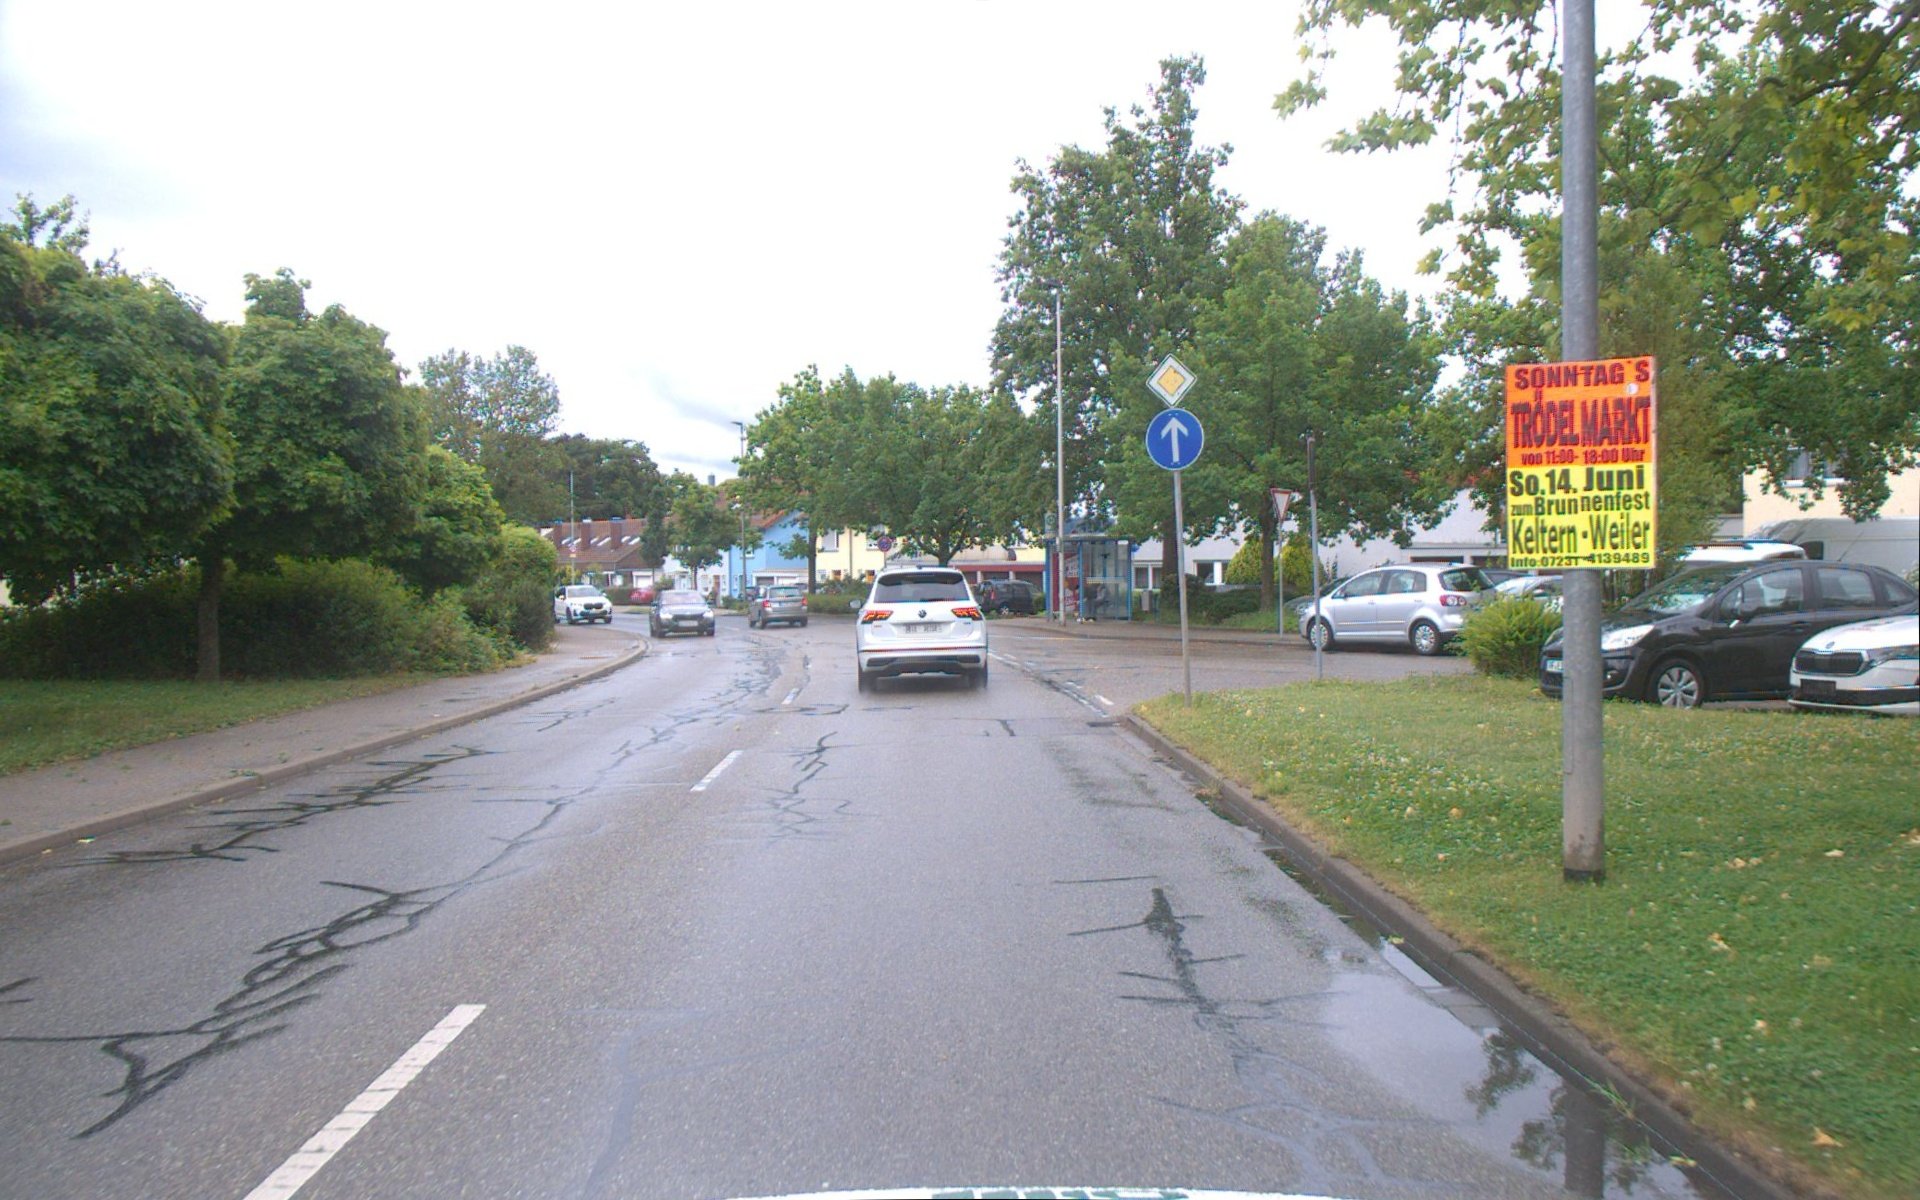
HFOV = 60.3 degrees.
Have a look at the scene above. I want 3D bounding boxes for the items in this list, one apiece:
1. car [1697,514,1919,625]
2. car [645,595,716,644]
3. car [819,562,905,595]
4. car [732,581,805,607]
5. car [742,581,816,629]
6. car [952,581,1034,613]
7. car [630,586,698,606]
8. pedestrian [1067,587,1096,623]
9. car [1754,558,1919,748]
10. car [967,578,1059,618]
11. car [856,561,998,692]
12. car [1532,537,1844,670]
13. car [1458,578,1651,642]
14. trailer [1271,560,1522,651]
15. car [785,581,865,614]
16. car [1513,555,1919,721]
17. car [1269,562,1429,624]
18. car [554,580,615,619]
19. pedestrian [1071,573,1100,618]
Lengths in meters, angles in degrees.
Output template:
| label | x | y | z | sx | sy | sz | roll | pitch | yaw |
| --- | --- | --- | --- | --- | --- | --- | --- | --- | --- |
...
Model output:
| label | x | y | z | sx | sy | sz | roll | pitch | yaw |
| --- | --- | --- | --- | --- | --- | --- | --- | --- | --- |
| car | 17.910 | -0.639 | 33.073 | 5.718 | 2.049 | 1.994 | -2 | 1 | -12 |
| car | -8.851 | 0.590 | 52.197 | 1.713 | 1.439 | 4.123 | -1 | 1 | -17 |
| car | -5.169 | -1.149 | 87.506 | 4.146 | 1.701 | 1.967 | -1 | 1 | -36 |
| car | -11.036 | -0.349 | 95.427 | 3.962 | 1.411 | 1.651 | -1 | 1 | -40 |
| car | -6.356 | 0.155 | 57.706 | 1.742 | 1.578 | 3.978 | -1 | 1 | -19 |
| car | 1.583 | -0.161 | 78.428 | 3.666 | 1.467 | 1.684 | -1 | 1 | -38 |
| car | -19.400 | -0.268 | 108.510 | 1.651 | 1.283 | 4.288 | 1 | 0 | 44 |
| pedestrian | 3.527 | 0.128 | 48.051 | 0.735 | 1.029 | 0.550 | -1 | 0 | -10 |
| car | 9.375 | 0.348 | 14.059 | 4.486 | 1.468 | 1.762 | -2 | 1 | -7 |
| car | 2.449 | -0.112 | 75.749 | 3.959 | 1.751 | 1.898 | -1 | 1 | -38 |
| car | -0.469 | 0.326 | 23.805 | 1.827 | 1.679 | 3.999 | -1 | 1 | -1 |
| car | 11.412 | 0.031 | 26.185 | 1.974 | 1.914 | 4.167 | -1 | 1 | -32 |
| car | 13.591 | 0.199 | 37.833 | 3.968 | 1.360 | 1.724 | -1 | 0 | -19 |
| trailer | 8.164 | 0.087 | 31.264 | 1.977 | 1.570 | 4.371 | -1 | 1 | -35 |
| car | -7.302 | -0.129 | 89.645 | 4.160 | 1.701 | 1.694 | 2 | -1 | -44 |
| car | 8.068 | 0.322 | 16.540 | 4.486 | 1.468 | 1.762 | -2 | 1 | -7 |
| car | 9.934 | -0.193 | 42.335 | 3.582 | 1.512 | 1.754 | -1 | 0 | -12 |
| car | -16.589 | -0.046 | 72.927 | 1.864 | 1.639 | 4.833 | -1 | 1 | -22 |
| pedestrian | 3.582 | -0.141 | 47.291 | 0.713 | 1.272 | 0.550 | -1 | 0 | -10 |
